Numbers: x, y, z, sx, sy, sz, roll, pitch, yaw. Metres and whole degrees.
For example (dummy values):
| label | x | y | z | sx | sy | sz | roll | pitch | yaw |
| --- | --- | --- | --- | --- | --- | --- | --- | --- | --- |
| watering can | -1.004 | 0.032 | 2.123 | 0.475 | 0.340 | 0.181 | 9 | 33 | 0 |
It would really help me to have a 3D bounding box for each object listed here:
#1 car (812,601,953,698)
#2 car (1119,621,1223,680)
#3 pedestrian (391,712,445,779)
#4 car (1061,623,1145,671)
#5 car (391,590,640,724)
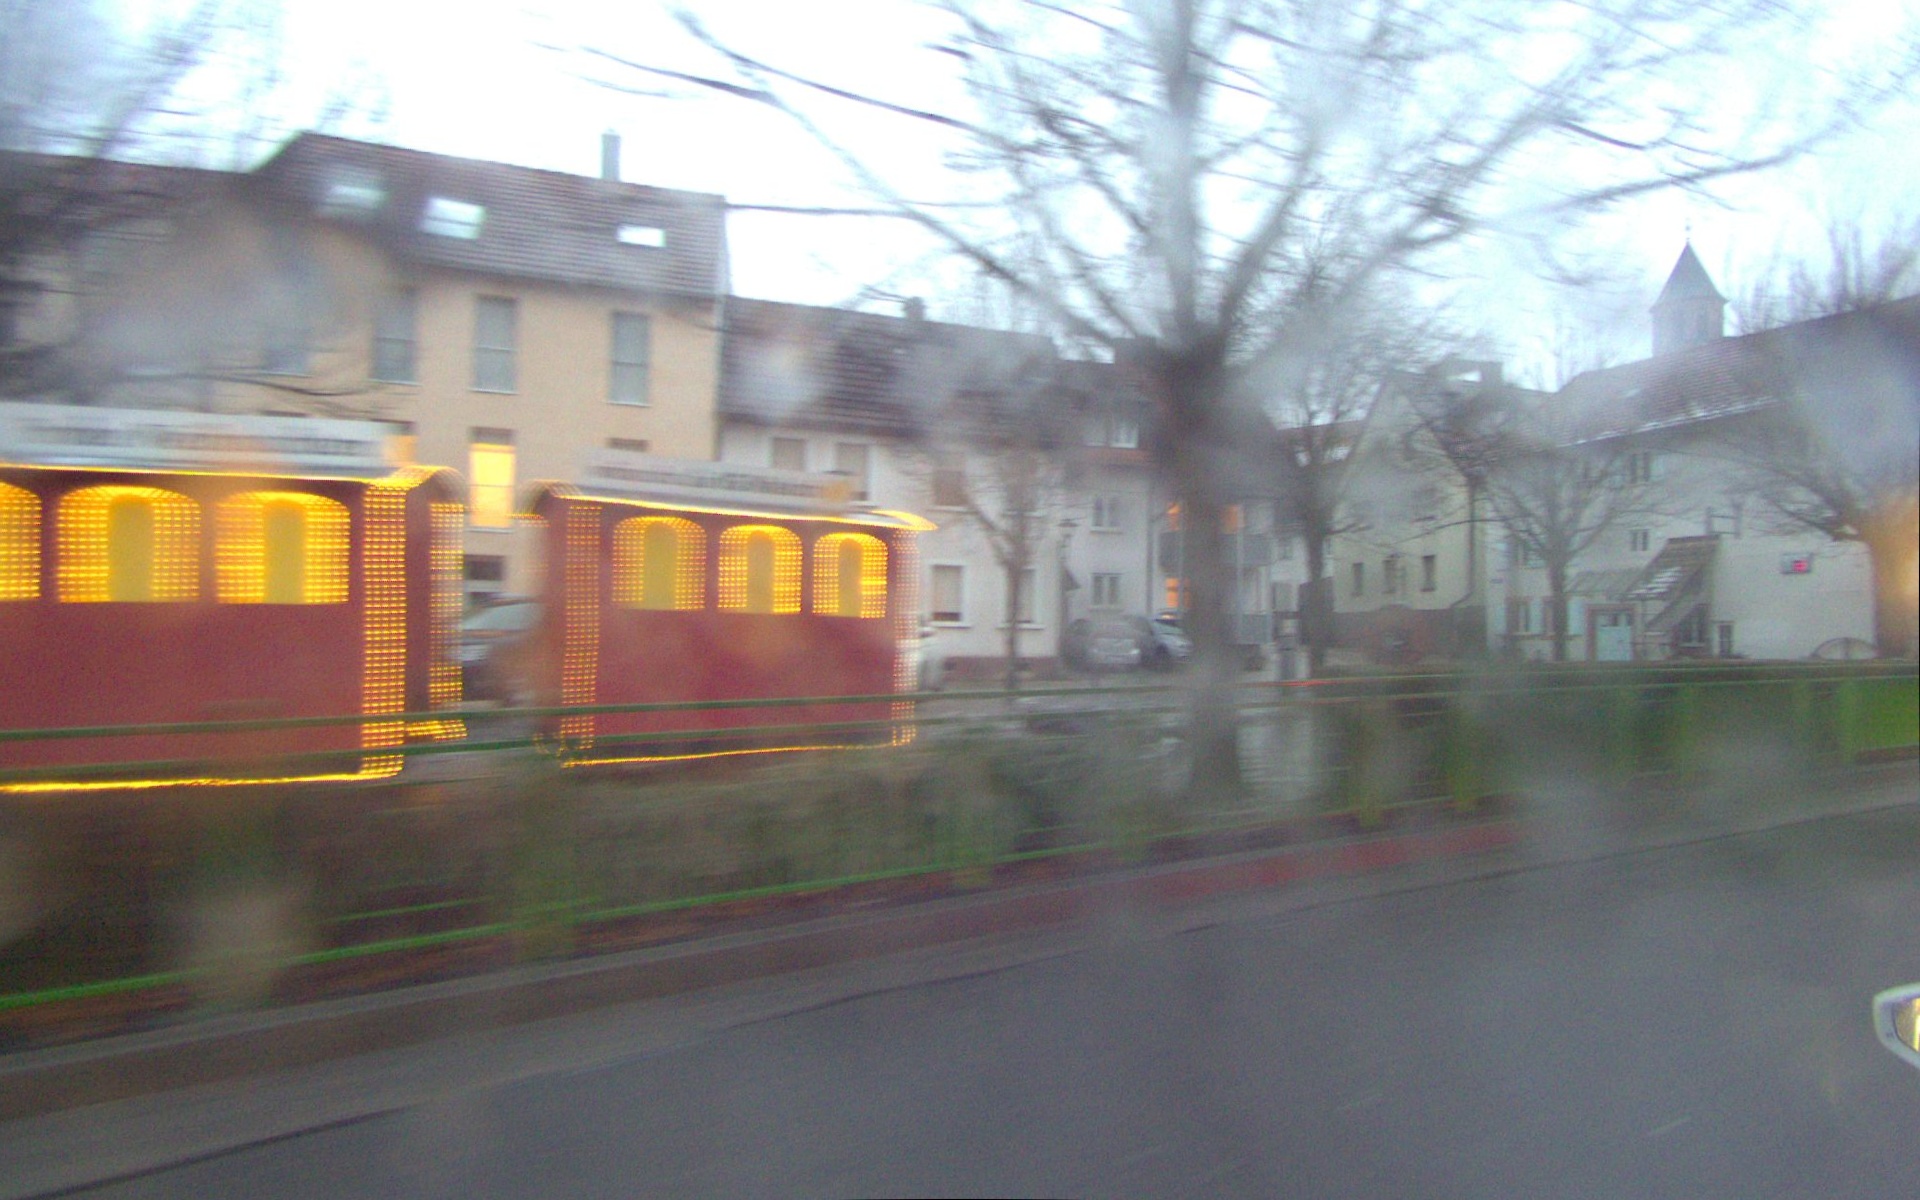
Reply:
| label | x | y | z | sx | sy | sz | roll | pitch | yaw |
| --- | --- | --- | --- | --- | --- | --- | --- | --- | --- |
| car | -1.176 | 0.747 | 16.675 | 1.577 | 1.428 | 3.488 | 1 | 0 | 9 |
| car | 6.590 | 1.545 | 31.758 | 1.686 | 1.634 | 3.596 | 1 | 1 | -17 |
| pedestrian | -4.292 | 1.147 | 7.964 | 0.356 | 0.491 | 0.293 | 1 | -3 | -27 |
| car | 4.358 | 1.417 | 31.001 | 1.503 | 1.142 | 3.045 | 1 | 3 | -14 |
| car | -6.072 | 0.708 | 14.202 | 1.578 | 1.633 | 3.637 | 1 | 0 | 7 |
